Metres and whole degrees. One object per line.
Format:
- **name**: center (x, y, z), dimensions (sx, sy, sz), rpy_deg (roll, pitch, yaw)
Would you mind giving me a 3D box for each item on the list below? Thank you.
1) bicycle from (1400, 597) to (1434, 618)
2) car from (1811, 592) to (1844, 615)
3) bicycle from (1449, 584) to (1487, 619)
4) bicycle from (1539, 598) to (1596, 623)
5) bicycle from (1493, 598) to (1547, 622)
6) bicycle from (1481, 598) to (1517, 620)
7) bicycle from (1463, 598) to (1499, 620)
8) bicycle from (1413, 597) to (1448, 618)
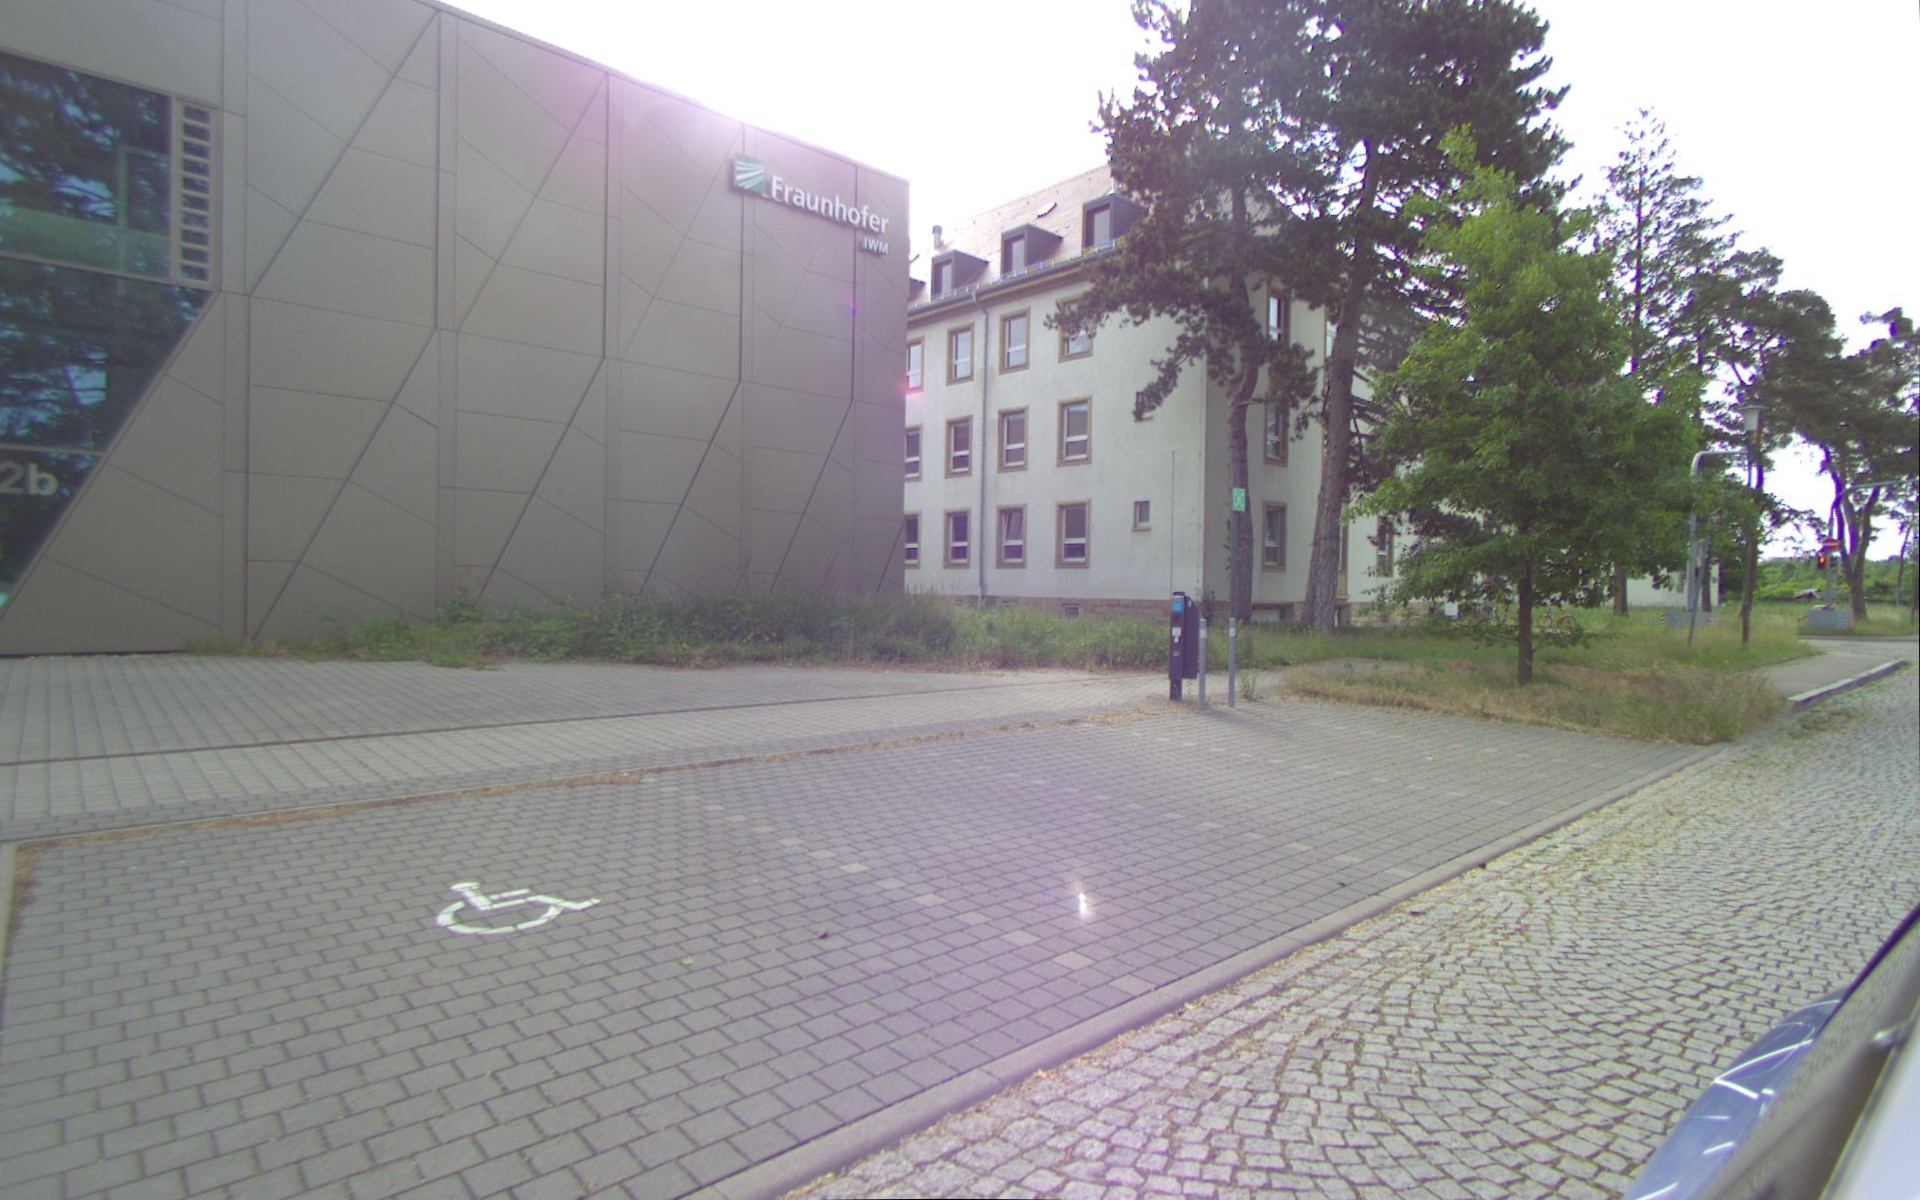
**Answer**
- **bicycle**: center (24.091, 0.385, 53.367), dimensions (2.127, 1.070, 0.799), rpy_deg (0, 1, -40)
- **car**: center (70.634, 0.251, 82.378), dimensions (1.992, 1.810, 3.940), rpy_deg (1, 1, 41)
- **bicycle**: center (25.925, 0.069, 51.626), dimensions (2.160, 1.753, 0.904), rpy_deg (0, 0, -40)
- **bicycle**: center (28.170, 0.473, 46.919), dimensions (2.159, 1.109, 0.706), rpy_deg (1, 1, 45)
- **bicycle**: center (26.828, 0.467, 48.512), dimensions (2.159, 1.070, 0.706), rpy_deg (1, 1, 45)
- **bicycle**: center (26.743, 0.437, 50.195), dimensions (2.127, 1.070, 0.799), rpy_deg (0, 1, -40)
- **bicycle**: center (26.185, 0.424, 50.835), dimensions (2.160, 1.070, 0.799), rpy_deg (0, 1, -40)
- **bicycle**: center (24.478, 0.398, 52.630), dimensions (2.127, 1.070, 0.799), rpy_deg (0, 1, -40)
